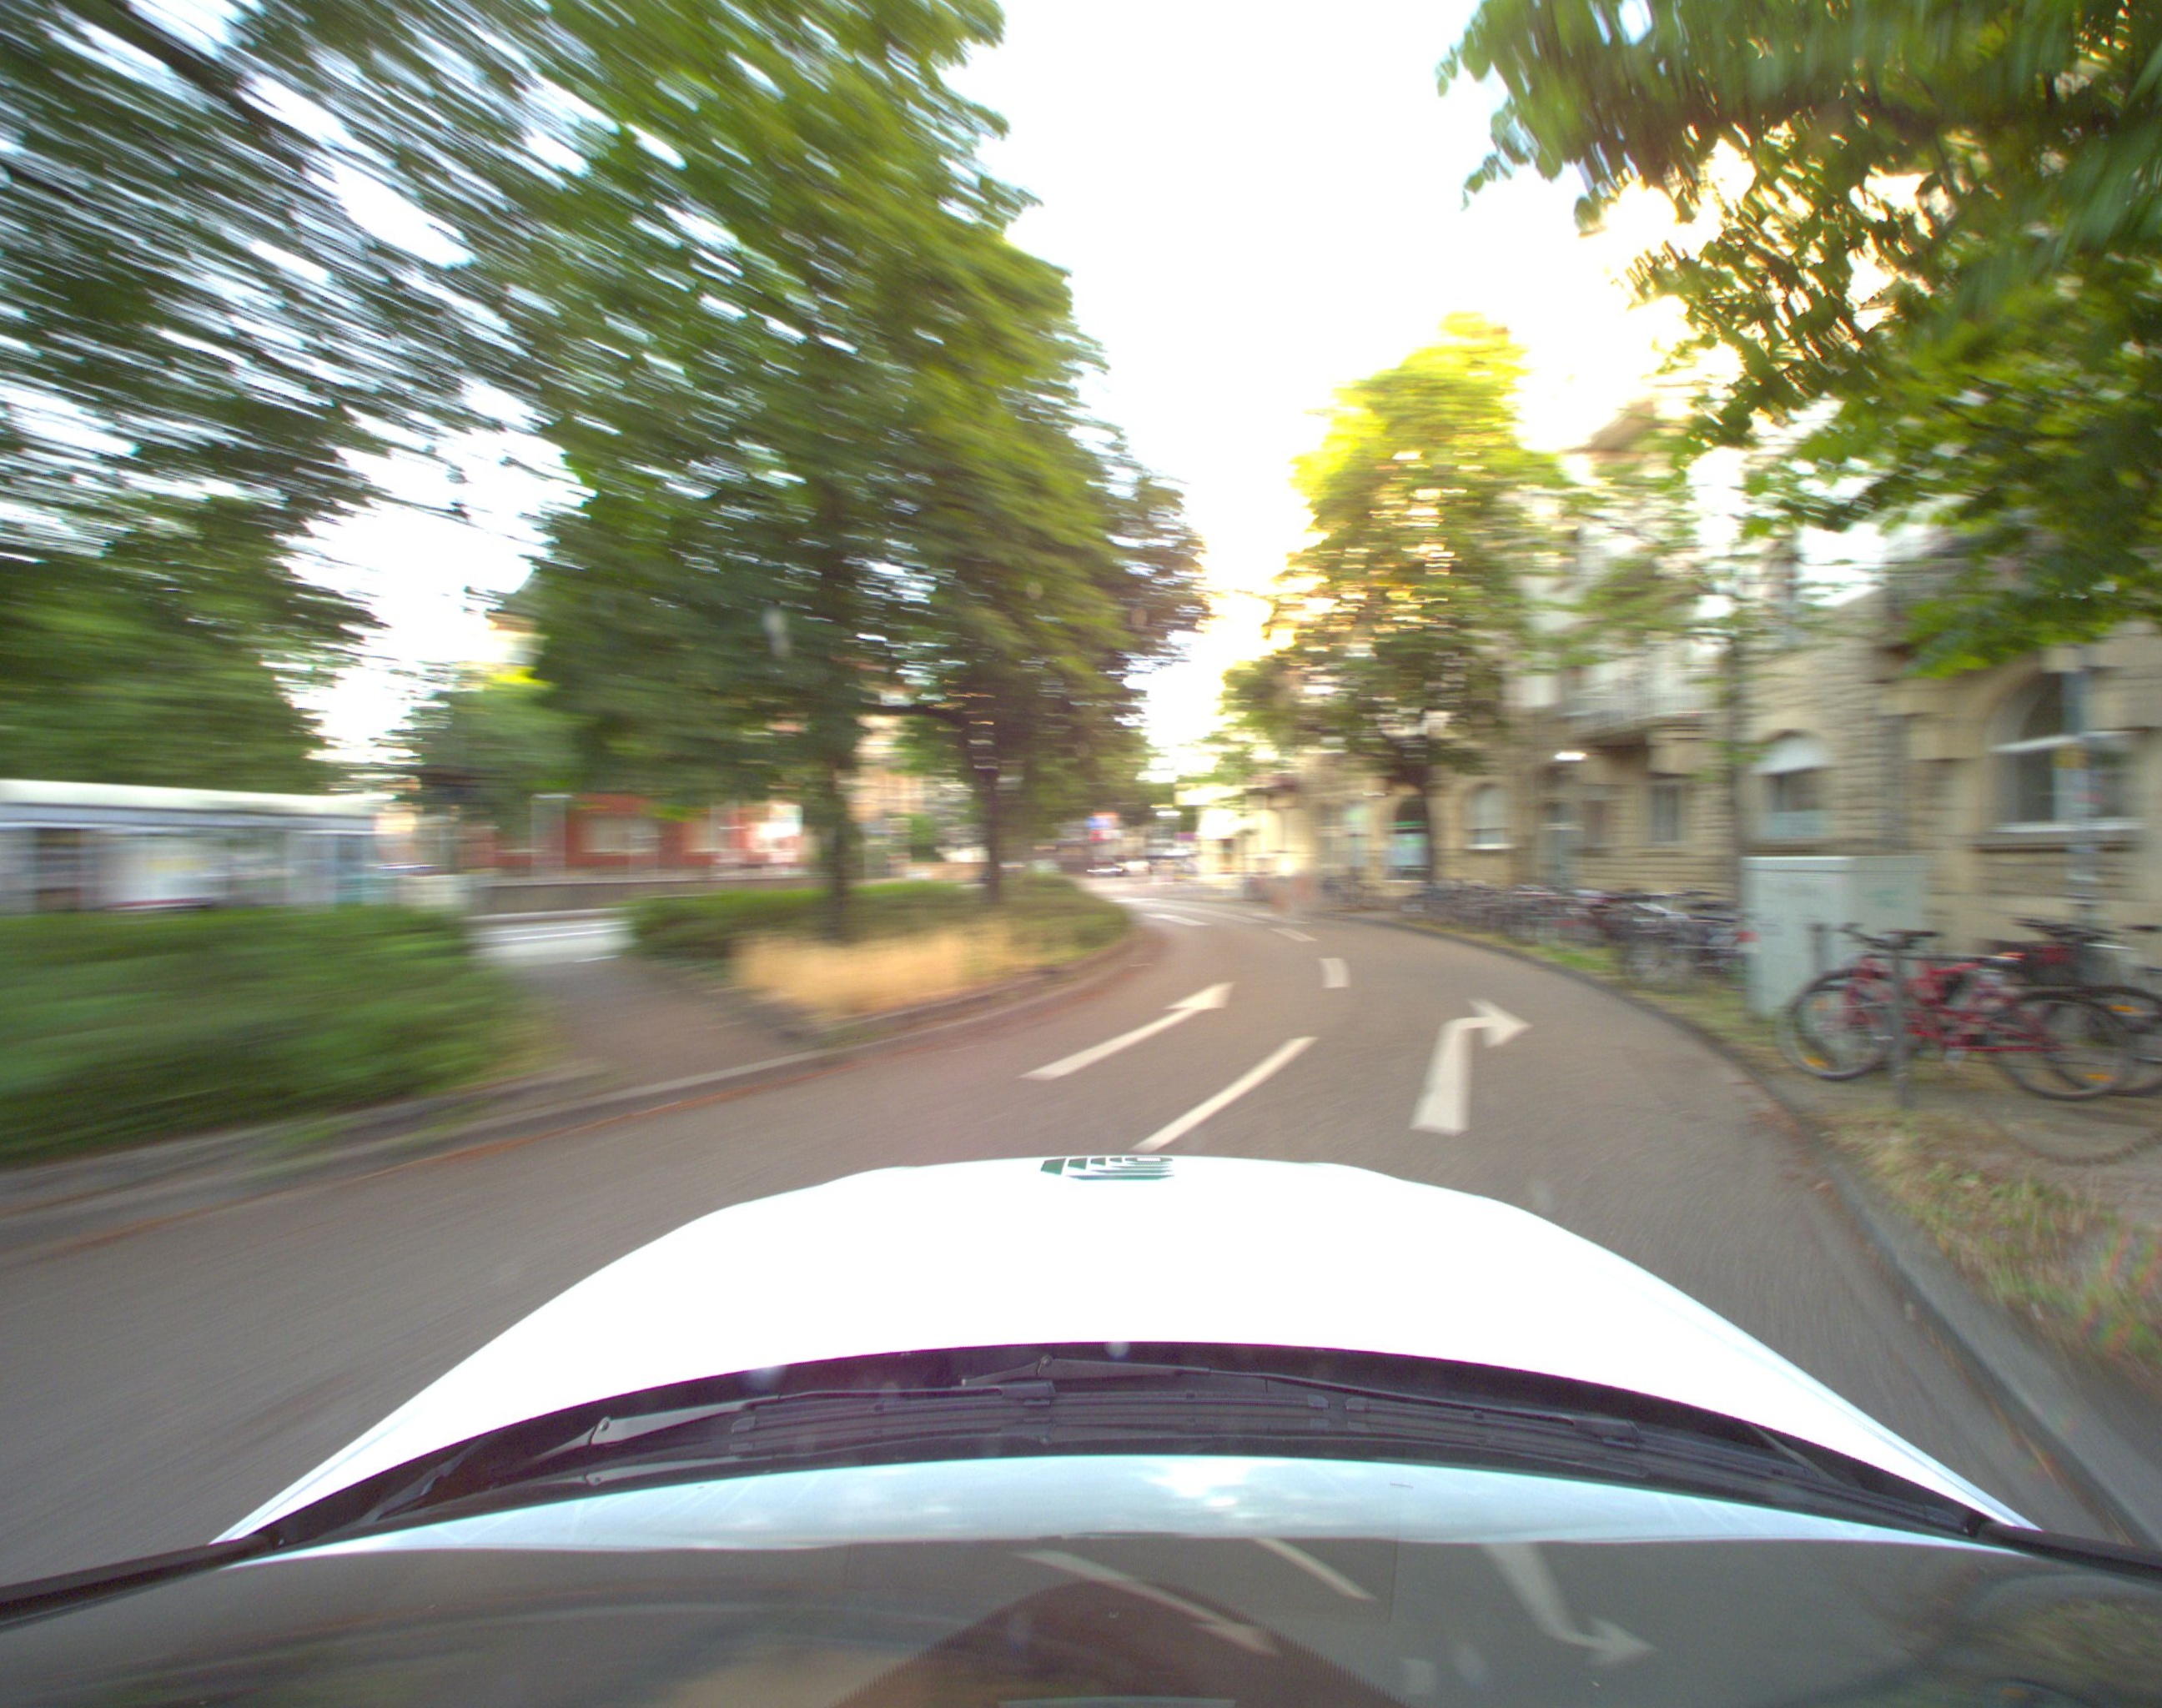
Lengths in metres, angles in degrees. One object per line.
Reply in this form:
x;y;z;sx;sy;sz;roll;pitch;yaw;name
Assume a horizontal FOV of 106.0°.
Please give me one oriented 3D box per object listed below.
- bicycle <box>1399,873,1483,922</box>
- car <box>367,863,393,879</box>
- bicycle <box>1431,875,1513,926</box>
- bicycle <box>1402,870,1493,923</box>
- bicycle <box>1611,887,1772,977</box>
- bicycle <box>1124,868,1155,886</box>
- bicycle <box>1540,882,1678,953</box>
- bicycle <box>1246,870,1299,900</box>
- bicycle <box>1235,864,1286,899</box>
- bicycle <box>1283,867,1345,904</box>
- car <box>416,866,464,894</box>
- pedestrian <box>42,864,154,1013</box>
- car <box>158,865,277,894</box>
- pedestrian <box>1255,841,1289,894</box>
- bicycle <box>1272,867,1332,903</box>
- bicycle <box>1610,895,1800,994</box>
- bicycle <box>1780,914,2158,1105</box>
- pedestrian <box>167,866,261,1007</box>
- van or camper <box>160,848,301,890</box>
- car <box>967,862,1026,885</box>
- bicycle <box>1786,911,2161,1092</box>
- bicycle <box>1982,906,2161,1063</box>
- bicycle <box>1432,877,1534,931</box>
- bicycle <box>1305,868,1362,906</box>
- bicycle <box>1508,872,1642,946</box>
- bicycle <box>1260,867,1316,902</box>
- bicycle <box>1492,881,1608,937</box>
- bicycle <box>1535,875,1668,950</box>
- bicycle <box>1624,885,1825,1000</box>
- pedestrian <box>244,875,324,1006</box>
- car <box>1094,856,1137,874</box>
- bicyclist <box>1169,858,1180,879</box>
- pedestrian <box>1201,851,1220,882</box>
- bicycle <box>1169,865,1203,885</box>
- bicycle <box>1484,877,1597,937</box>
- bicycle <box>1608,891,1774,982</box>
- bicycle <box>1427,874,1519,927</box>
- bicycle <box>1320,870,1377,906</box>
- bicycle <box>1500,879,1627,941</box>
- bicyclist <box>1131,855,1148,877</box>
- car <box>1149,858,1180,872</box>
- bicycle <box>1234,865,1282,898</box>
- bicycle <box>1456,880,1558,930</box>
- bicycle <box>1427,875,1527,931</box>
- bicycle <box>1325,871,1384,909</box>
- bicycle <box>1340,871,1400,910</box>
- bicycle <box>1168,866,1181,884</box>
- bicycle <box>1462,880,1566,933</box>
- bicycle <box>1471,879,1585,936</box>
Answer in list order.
8.755;1.063;19.823;1.879;1.139;0.490;1;3;-10;bicycle
-76.245;1.842;88.561;2.011;1.704;4.662;2;-2;-43;car
9.084;1.059;18.894;1.855;1.104;0.570;-1;-1;-20;bicycle
8.703;1.010;19.388;1.871;1.217;0.492;-1;-7;3;bicycle
7.692;0.970;10.303;1.592;1.076;0.420;-1;-1;11;bicycle
3.687;1.429;51.074;1.791;1.055;0.696;0;0;-18;bicycle
8.235;0.987;12.742;1.781;1.063;0.448;-1;-1;7;bicycle
7.014;1.110;29.842;1.809;1.038;0.694;0;-1;-23;bicycle
6.760;1.021;30.667;1.795;1.236;0.694;0;-1;-23;bicycle
7.740;1.037;27.100;1.887;1.162;0.701;-1;-1;-13;bicycle
-40.647;1.617;51.608;2.011;1.704;4.662;2;-2;-43;car
-10.033;0.824;8.336;0.621;1.431;0.648;0;0;-40;pedestrian
-54.010;1.584;51.074;1.975;1.704;4.995;-1;-2;44;car
7.792;0.546;33.263;1.011;2.085;1.057;-1;0;-11;pedestrian
7.553;1.043;27.835;1.887;1.162;0.638;-1;-1;-13;bicycle
6.956;0.990;9.154;1.590;1.020;0.557;-1;-1;15;bicycle
5.611;0.939;5.267;1.587;1.039;0.435;-1;-1;27;bicycle
-9.353;0.849;8.808;0.621;1.431;0.648;0;0;-40;pedestrian
-66.514;1.221;63.945;2.640;3.083;7.432;-1;-2;44;van or camper
-5.996;1.358;58.159;1.925;1.510;4.447;-1;-1;31;car
6.023;0.935;5.476;1.875;1.039;0.435;-1;-1;27;bicycle
7.854;0.942;6.309;0.427;0.969;1.736;-1;0;21;bicycle
8.715;1.085;17.709;1.841;1.093;0.419;-1;-20;3;bicycle
7.978;1.036;25.753;1.667;1.127;0.486;-1;6;-6;bicycle
8.387;0.929;13.873;1.905;1.200;0.553;-1;-1;5;bicycle
7.248;1.053;28.516;1.894;1.162;0.635;0;-1;-24;bicycle
8.693;1.020;15.133;1.839;1.014;0.420;-1;-1;7;bicycle
8.363;0.930;13.136;1.781;1.168;0.448;-1;-1;7;bicycle
6.838;0.917;8.727;1.590;1.148;0.557;-1;-1;15;bicycle
-9.276;0.969;9.500;0.621;1.431;0.647;0;0;-41;pedestrian
3.181;0.984;74.157;1.925;1.510;4.661;-1;-1;31;car
6.629;1.009;57.666;0.692;1.461;0.787;-1;-1;13;bicyclist
7.508;0.716;47.286;0.867;1.794;0.922;0;0;-8;pedestrian
6.136;1.213;47.715;1.871;1.130;0.729;0;-1;-9;bicycle
8.699;1.001;15.460;1.839;1.116;0.420;-1;-1;7;bicycle
7.432;0.995;9.966;1.592;1.063;0.420;-1;-1;11;bicycle
8.835;1.042;18.384;1.841;1.144;0.419;-1;-1;3;bicycle
8.374;1.063;25.504;1.668;1.078;0.485;-1;-1;-7;bicycle
8.611;0.994;14.586;1.905;1.065;0.553;-1;-1;5;bicycle
3.640;0.750;51.073;0.864;1.411;0.696;0;-1;-17;bicyclist
9.675;1.278;94.192;1.925;1.482;4.194;-1;-1;31;car
6.936;1.045;31.835;1.796;1.236;0.646;0;-1;-25;bicycle
8.769;1.051;16.779;1.841;0.999;0.419;-1;-1;3;bicycle
8.724;1.083;17.986;1.841;1.131;0.419;-1;-20;3;bicycle
8.193;1.070;24.415;1.672;1.078;0.484;-1;-1;-14;bicycle
8.489;1.068;23.962;1.672;1.078;0.484;-1;-1;-14;bicycle
6.661;1.500;57.736;0.692;1.236;1.870;-1;0;13;bicycle
8.754;1.058;16.487;1.841;1.051;0.419;-1;-1;3;bicycle
8.765;1.047;16.000;1.906;1.061;0.536;-1;-1;4;bicycle
